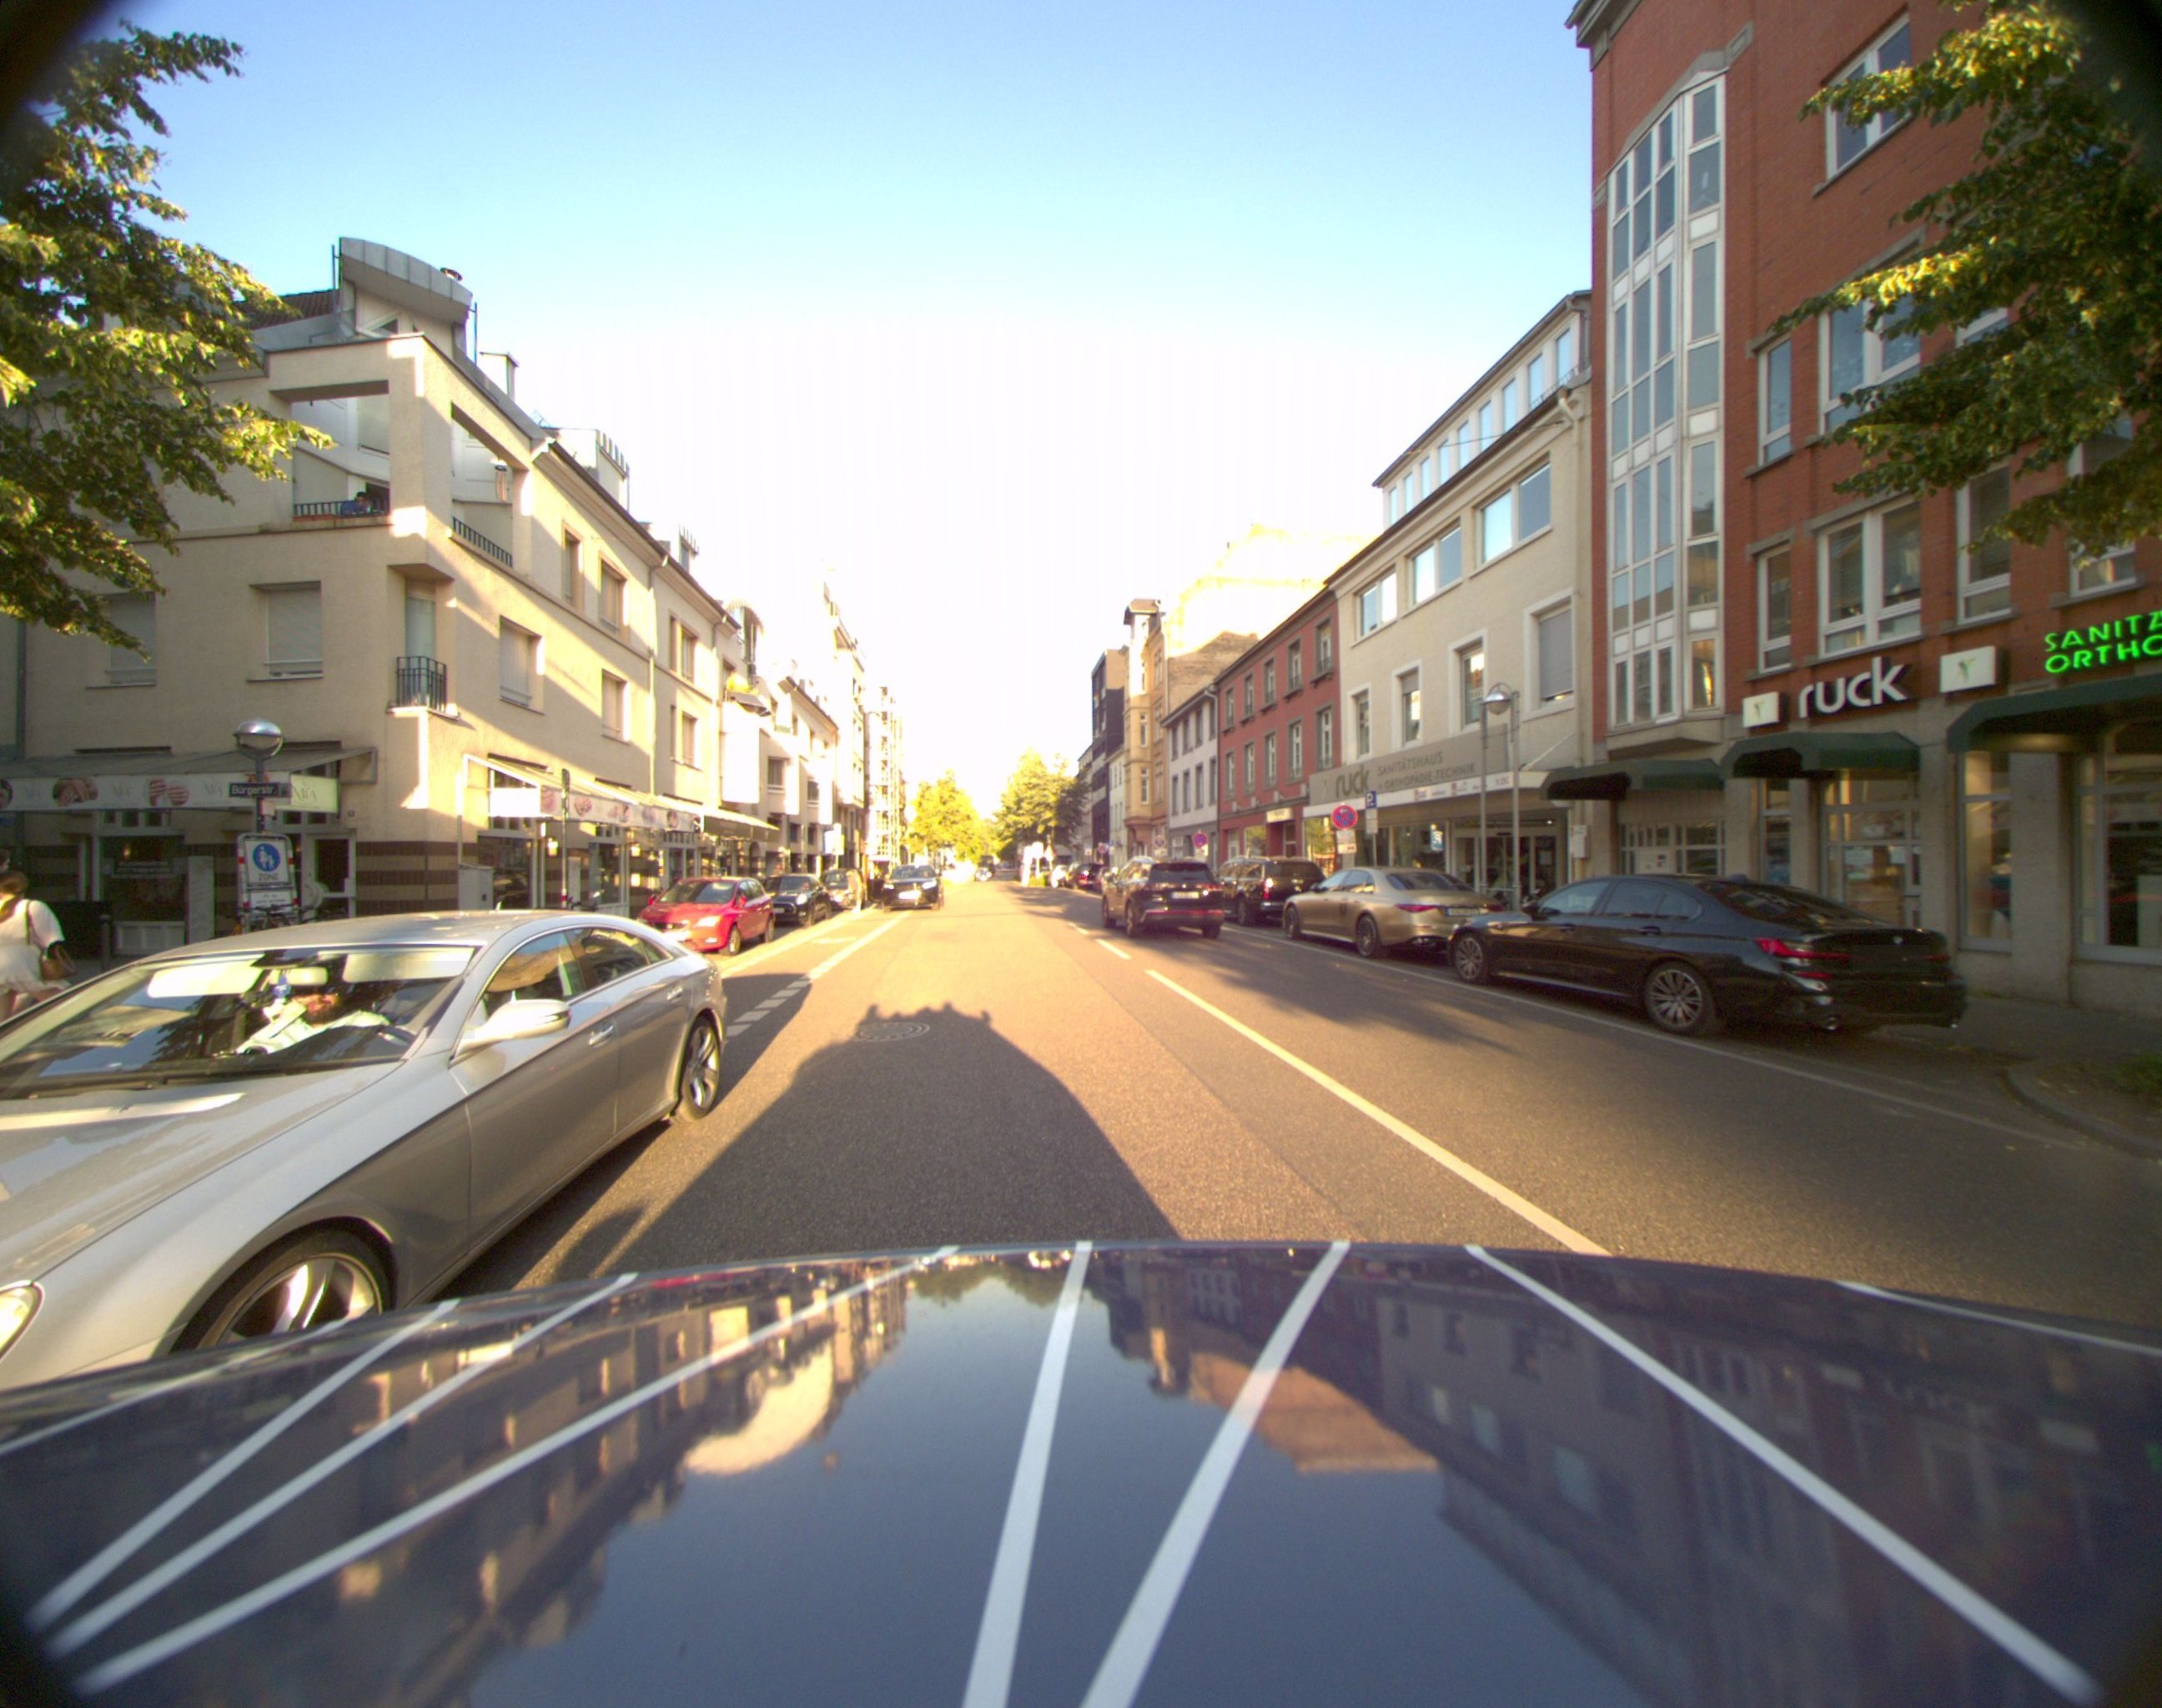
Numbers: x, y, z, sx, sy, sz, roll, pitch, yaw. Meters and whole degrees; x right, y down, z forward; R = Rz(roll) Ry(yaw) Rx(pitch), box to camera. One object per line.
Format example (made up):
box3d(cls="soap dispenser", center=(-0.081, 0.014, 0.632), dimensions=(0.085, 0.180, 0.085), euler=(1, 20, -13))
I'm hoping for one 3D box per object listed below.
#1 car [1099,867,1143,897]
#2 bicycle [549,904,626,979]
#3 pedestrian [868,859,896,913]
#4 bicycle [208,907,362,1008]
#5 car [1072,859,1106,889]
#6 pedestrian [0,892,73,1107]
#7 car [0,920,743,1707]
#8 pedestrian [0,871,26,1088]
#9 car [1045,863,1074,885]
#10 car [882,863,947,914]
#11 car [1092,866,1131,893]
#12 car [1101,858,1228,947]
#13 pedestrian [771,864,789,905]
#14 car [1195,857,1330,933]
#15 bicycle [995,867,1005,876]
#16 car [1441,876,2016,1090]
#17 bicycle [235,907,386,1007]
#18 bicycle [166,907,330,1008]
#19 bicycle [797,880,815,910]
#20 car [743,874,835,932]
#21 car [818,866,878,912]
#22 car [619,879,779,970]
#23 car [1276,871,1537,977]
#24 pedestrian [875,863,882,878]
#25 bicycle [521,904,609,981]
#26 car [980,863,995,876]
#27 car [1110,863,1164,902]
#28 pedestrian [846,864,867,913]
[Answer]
box3d(cls="car", center=(2.053, 1.446, 39.967), dimensions=(1.690, 1.461, 3.689), euler=(2, -1, -6))
box3d(cls="bicycle", center=(-8.023, 1.391, 12.418), dimensions=(0.315, 1.040, 1.664), euler=(0, 0, -5))
box3d(cls="pedestrian", center=(-7.182, 1.127, 27.398), dimensions=(0.779, 1.872, 0.669), euler=(-4, 1, -8))
box3d(cls="bicycle", center=(-10.616, 1.327, 10.229), dimensions=(0.291, 1.098, 1.886), euler=(-1, 0, -7))
box3d(cls="car", center=(0.486, 1.225, 47.797), dimensions=(1.674, 1.763, 3.563), euler=(2, -1, -6))
box3d(cls="pedestrian", center=(-8.365, 1.102, 5.873), dimensions=(0.521, 1.583, 0.408), euler=(2, 0, -8))
box3d(cls="car", center=(-3.024, 1.134, 3.113), dimensions=(1.748, 1.392, 4.637), euler=(-2, -2, -8))
box3d(cls="pedestrian", center=(-8.974, 1.011, 5.984), dimensions=(0.545, 1.748, 0.502), euler=(2, 0, -8))
box3d(cls="car", center=(-1.567, 1.431, 54.836), dimensions=(1.674, 1.512, 3.562), euler=(1, -1, -8))
box3d(cls="car", center=(-5.946, 1.181, 27.519), dimensions=(1.891, 1.626, 4.224), euler=(-2, 0, -8))
box3d(cls="car", center=(1.726, 1.453, 43.970), dimensions=(1.674, 1.448, 3.563), euler=(2, -1, -6))
box3d(cls="car", center=(1.640, 0.948, 16.388), dimensions=(1.736, 1.665, 4.293), euler=(1, -1, -7))
box3d(cls="pedestrian", center=(-13.448, 1.367, 33.907), dimensions=(0.576, 1.789, 0.450), euler=(-2, 1, -7))
box3d(cls="car", center=(4.659, 0.999, 20.318), dimensions=(1.726, 1.768, 4.935), euler=(1, -1, -9))
box3d(cls="bicycle", center=(-11.057, 2.352, 103.645), dimensions=(0.858, 1.225, 2.991), euler=(0, 0, 5))
box3d(cls="car", center=(5.895, 1.025, 7.872), dimensions=(1.726, 1.463, 4.539), euler=(2, -1, -7))
box3d(cls="bicycle", center=(-10.310, 1.327, 10.265), dimensions=(0.322, 1.098, 1.878), euler=(-1, 0, -7))
box3d(cls="bicycle", center=(-11.058, 1.327, 10.181), dimensions=(0.322, 1.098, 1.878), euler=(-1, 0, -7))
box3d(cls="bicycle", center=(-10.629, 1.582, 29.365), dimensions=(0.296, 1.079, 1.462), euler=(-1, 0, -7))
box3d(cls="car", center=(-8.191, 1.311, 21.653), dimensions=(1.622, 1.425, 3.923), euler=(0, 0, -8))
box3d(cls="car", center=(-8.866, 1.281, 29.207), dimensions=(1.622, 1.583, 3.923), euler=(-1, 0, -8))
box3d(cls="car", center=(-7.187, 1.245, 14.725), dimensions=(1.594, 1.425, 3.923), euler=(0, -1, -8))
box3d(cls="car", center=(5.359, 1.072, 13.483), dimensions=(2.000, 1.463, 5.104), euler=(1, -1, -6))
box3d(cls="pedestrian", center=(-16.559, 1.341, 62.105), dimensions=(0.492, 1.256, 0.421), euler=(-2, 1, -7))
box3d(cls="bicycle", center=(-8.366, 1.397, 12.401), dimensions=(0.315, 1.040, 1.881), euler=(0, 0, -5))
box3d(cls="car", center=(-10.573, 1.727, 85.545), dimensions=(1.623, 1.465, 3.686), euler=(-2, 0, -8))
box3d(cls="car", center=(2.514, 1.263, 34.981), dimensions=(1.726, 1.673, 4.047), euler=(2, -1, -6))
box3d(cls="pedestrian", center=(-8.031, 1.219, 27.221), dimensions=(0.631, 1.739, 0.669), euler=(0, 0, -8))
